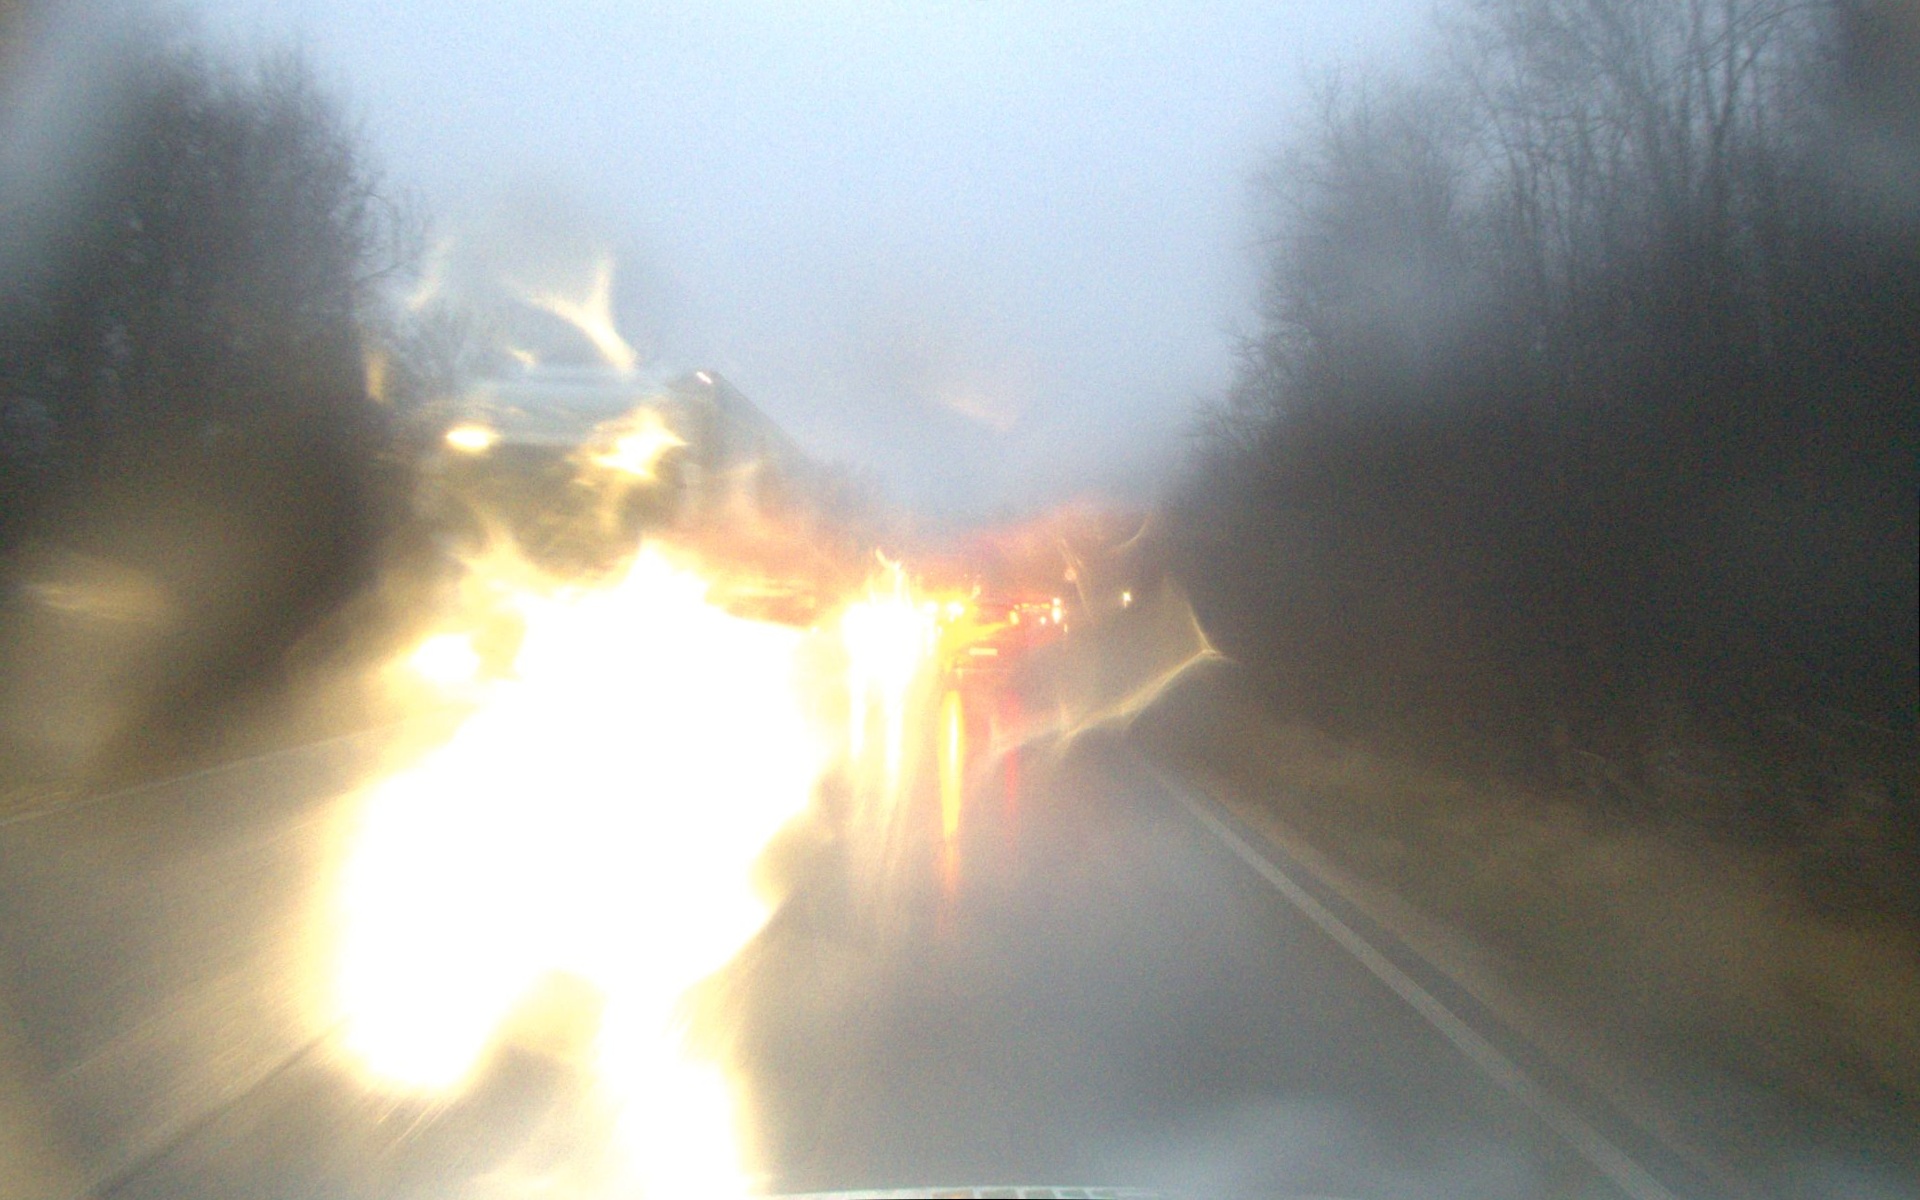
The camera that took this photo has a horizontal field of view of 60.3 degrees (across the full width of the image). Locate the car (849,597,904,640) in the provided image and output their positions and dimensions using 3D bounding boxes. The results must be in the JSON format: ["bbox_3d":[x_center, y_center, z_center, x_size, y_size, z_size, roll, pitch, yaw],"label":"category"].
[{"bbox_3d":[-3.149,0.674,63.157,1.709,1.499,4.484,2,0,1],"label":"car"}]

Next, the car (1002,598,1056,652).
[{"bbox_3d":[2.775,0.953,65.824,1.951,2.049,4.003,0,1,5],"label":"car"}]

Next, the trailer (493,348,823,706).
[{"bbox_3d":[-4.089,-0.927,26.117,2.721,4.160,13.516,0,1,0],"label":"trailer"}]

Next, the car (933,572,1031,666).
[{"bbox_3d":[0.369,0.326,31.676,1.693,1.672,3.999,0,1,-2],"label":"car"}]

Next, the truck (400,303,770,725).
[{"bbox_3d":[-4.158,-0.897,20.140,2.741,4.198,7.200,0,1,1],"label":"truck"}]
